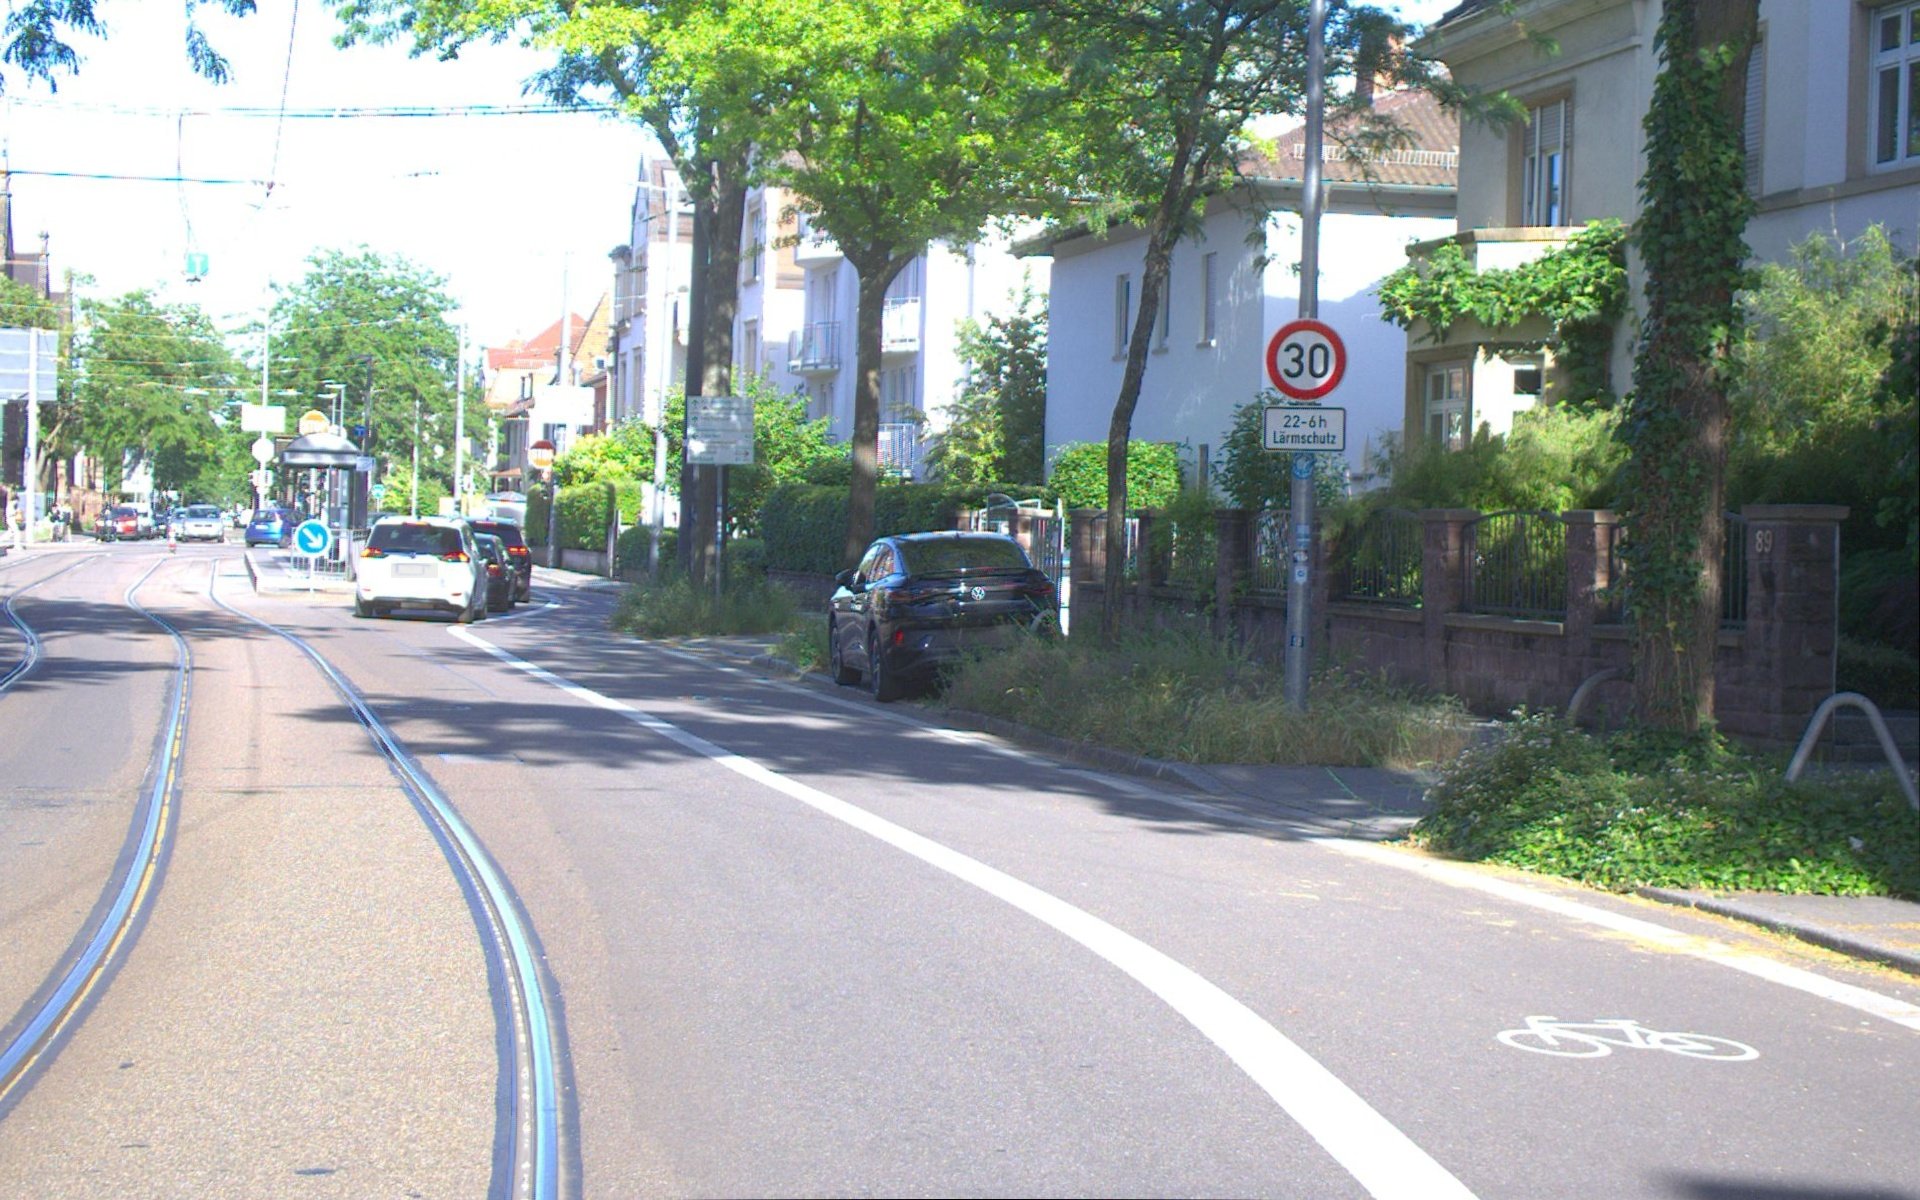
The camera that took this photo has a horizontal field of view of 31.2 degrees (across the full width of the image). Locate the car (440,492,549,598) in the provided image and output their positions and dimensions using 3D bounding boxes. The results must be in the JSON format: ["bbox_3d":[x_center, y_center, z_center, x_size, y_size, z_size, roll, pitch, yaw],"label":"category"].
[{"bbox_3d":[-9.252,-1.109,68.506,1.709,2.007,3.907,2,1,-2],"label":"car"}]

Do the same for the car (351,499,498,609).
[{"bbox_3d":[-8.512,-0.703,54.971,1.892,1.605,4.229,2,-1,-4],"label":"car"}]

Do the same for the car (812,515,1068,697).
[{"bbox_3d":[-0.289,-0.001,35.414,1.804,1.688,4.730,-2,2,-10],"label":"car"}]

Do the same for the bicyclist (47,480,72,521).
[{"bbox_3d":[-38.579,-4.253,147.297,0.943,1.728,0.861,2,1,-12],"label":"bicyclist"}]

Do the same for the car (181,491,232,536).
[{"bbox_3d":[-33.416,-3.824,152.526,1.993,1.907,4.001,2,1,-11],"label":"car"}]

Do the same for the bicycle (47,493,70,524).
[{"bbox_3d":[-38.543,-3.921,147.018,0.821,1.292,2.678,2,1,-13],"label":"bicycle"}]

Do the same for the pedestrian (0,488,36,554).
[{"bbox_3d":[-29.557,-2.459,106.761,1.157,2.007,1.117,2,1,30],"label":"pedestrian"}]

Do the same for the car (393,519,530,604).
[{"bbox_3d":[-8.996,-0.712,62.335,1.993,1.437,4.001,2,1,-2],"label":"car"}]
